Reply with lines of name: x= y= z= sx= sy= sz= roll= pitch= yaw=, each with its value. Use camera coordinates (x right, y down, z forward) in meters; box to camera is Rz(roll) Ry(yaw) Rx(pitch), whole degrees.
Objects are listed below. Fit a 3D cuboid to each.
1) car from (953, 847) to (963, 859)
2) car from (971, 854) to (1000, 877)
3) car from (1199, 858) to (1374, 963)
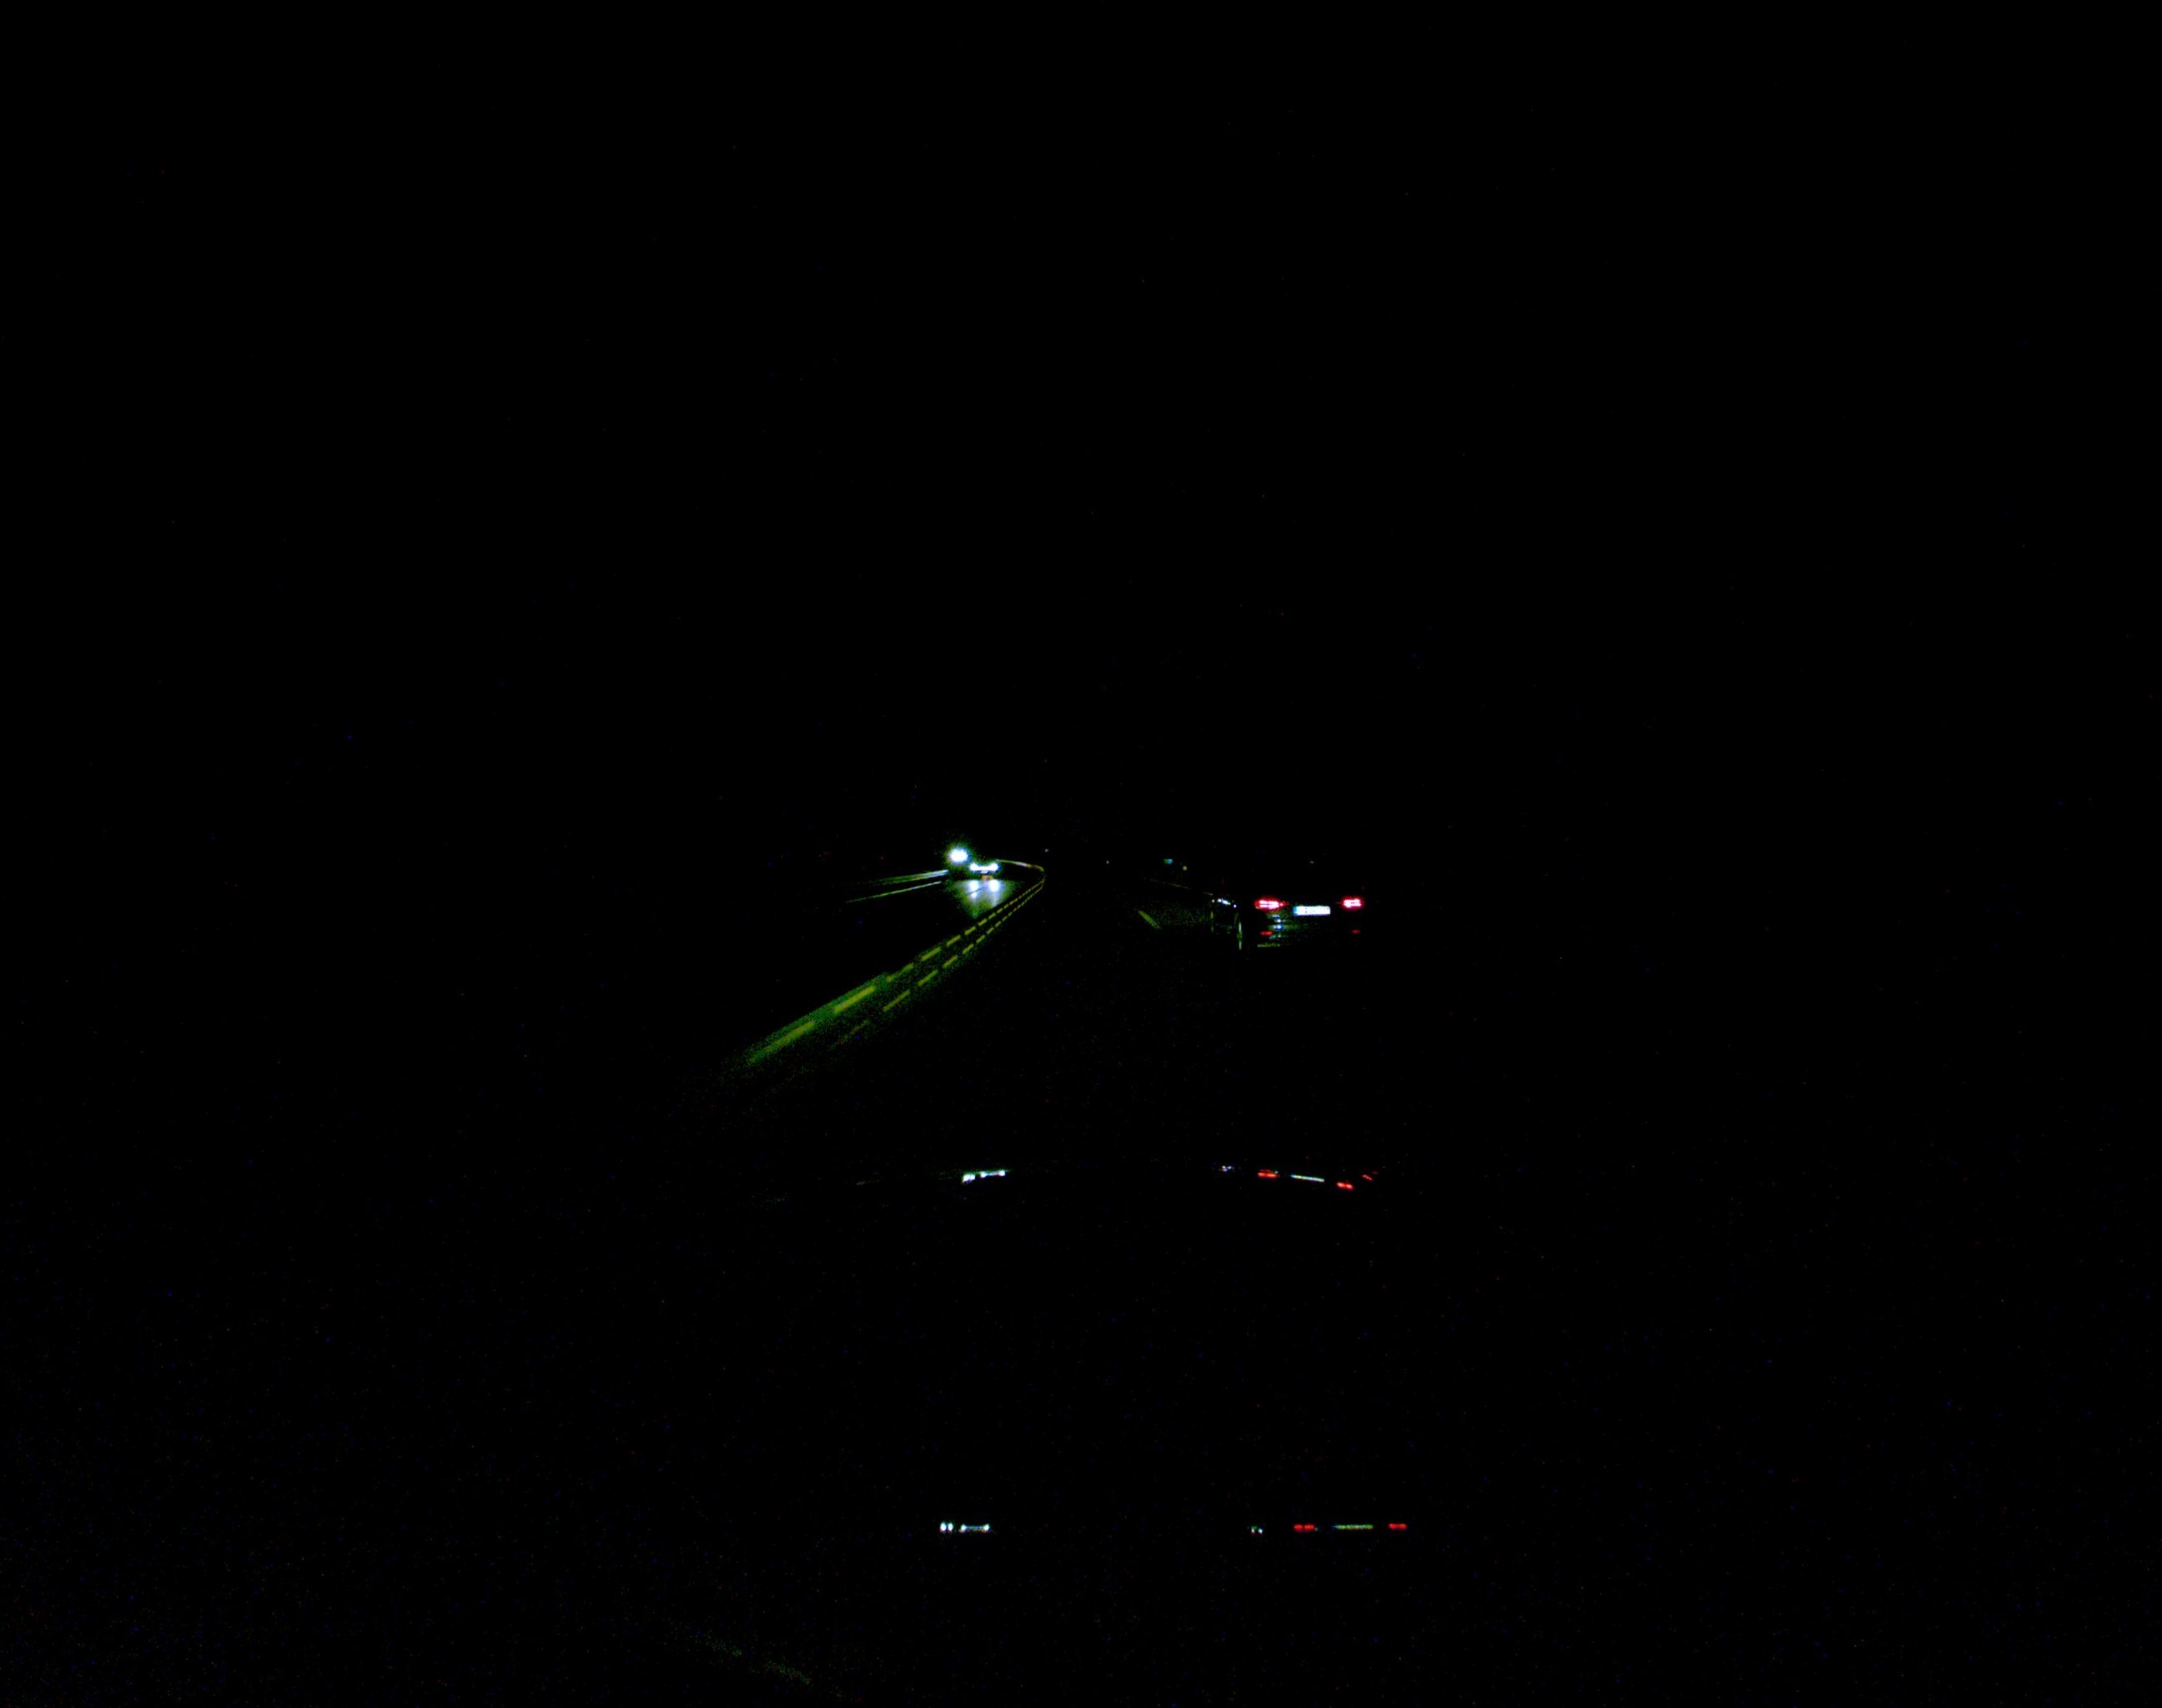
car: x=-35.652 y=-0.299 z=236.020 sx=2.489 sy=3.105 sz=7.352 roll=-1 pitch=-1 yaw=-13
car: x=-7.208 y=0.901 z=61.944 sx=2.010 sy=1.639 sz=4.854 roll=-1 pitch=-1 yaw=-5
car: x=3.226 y=0.806 z=13.805 sx=1.802 sy=1.426 sz=4.875 roll=-1 pitch=0 yaw=1
